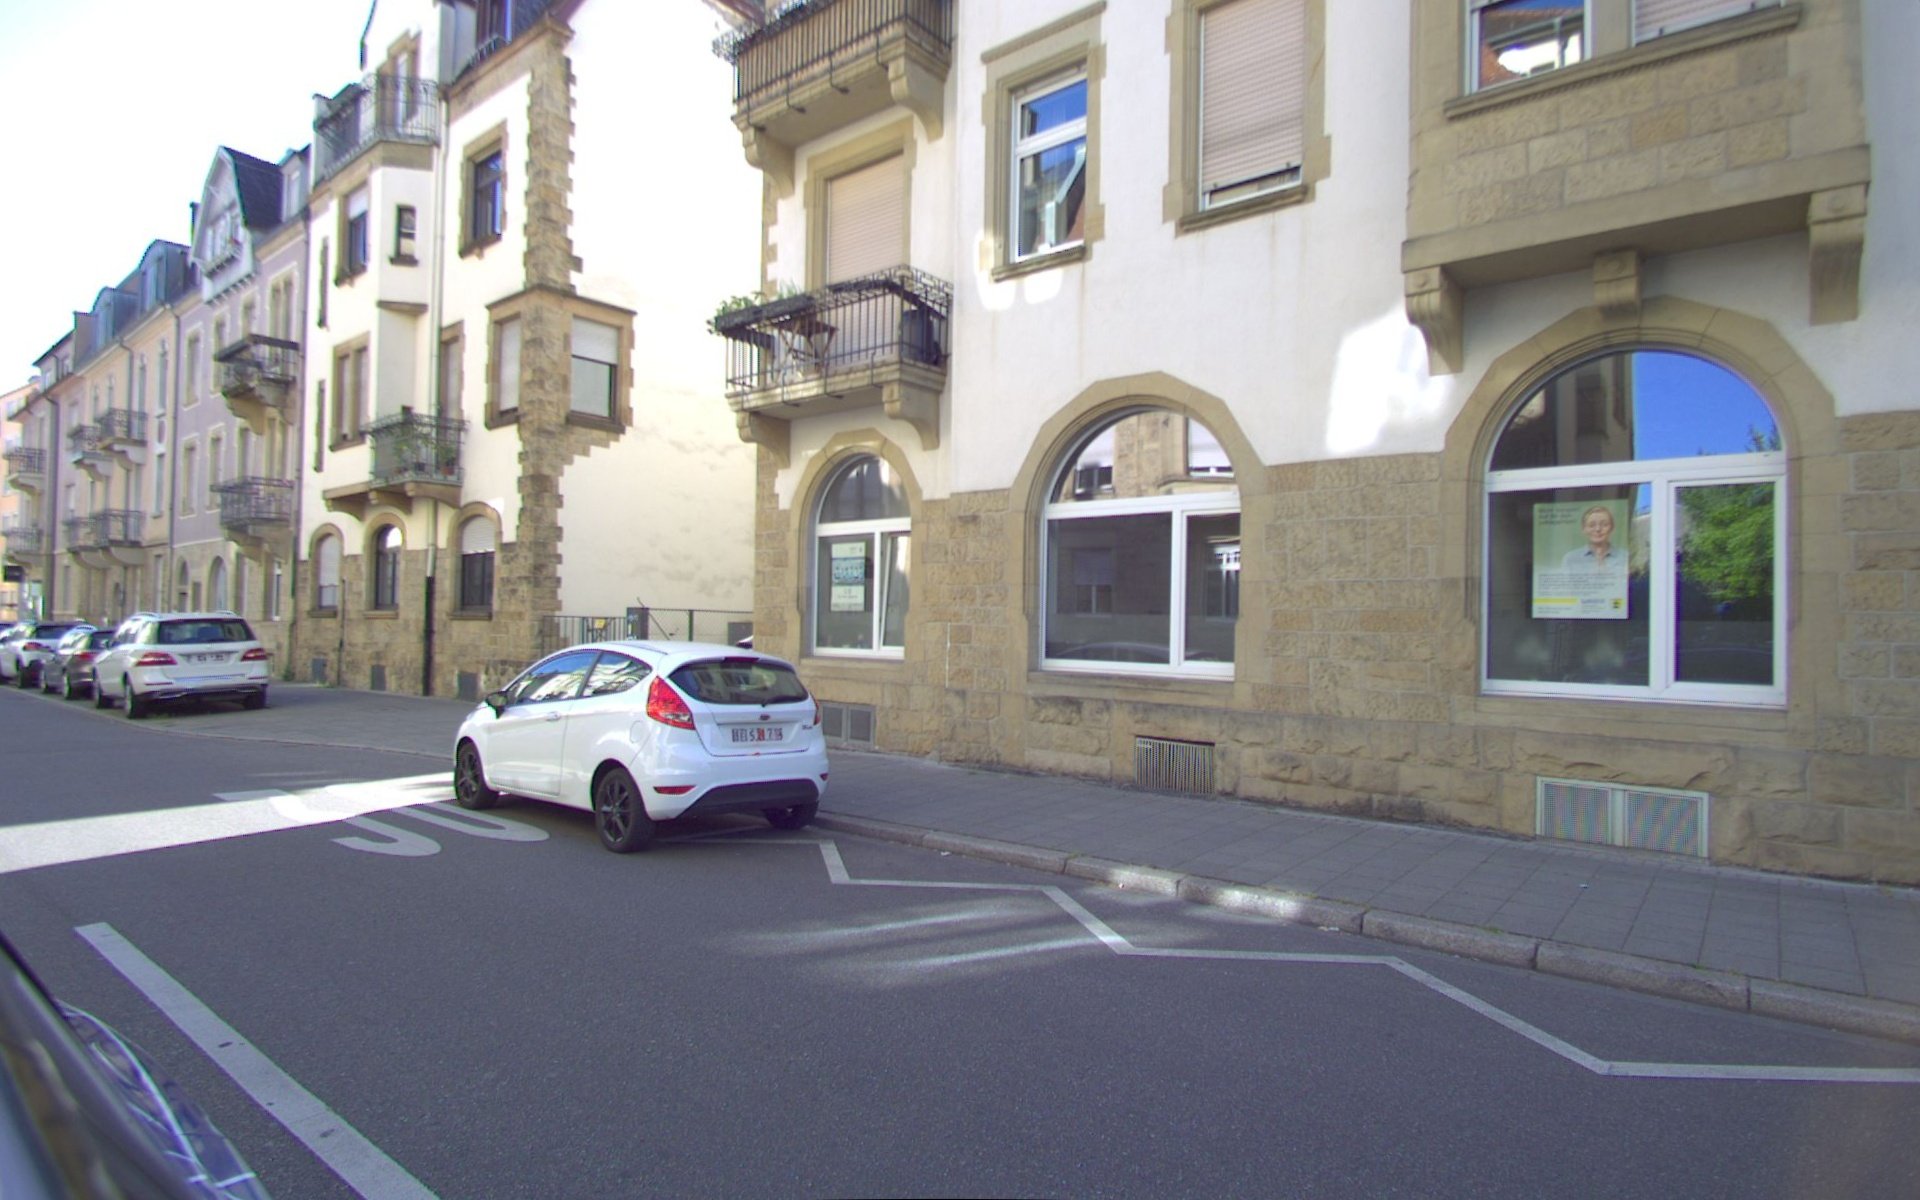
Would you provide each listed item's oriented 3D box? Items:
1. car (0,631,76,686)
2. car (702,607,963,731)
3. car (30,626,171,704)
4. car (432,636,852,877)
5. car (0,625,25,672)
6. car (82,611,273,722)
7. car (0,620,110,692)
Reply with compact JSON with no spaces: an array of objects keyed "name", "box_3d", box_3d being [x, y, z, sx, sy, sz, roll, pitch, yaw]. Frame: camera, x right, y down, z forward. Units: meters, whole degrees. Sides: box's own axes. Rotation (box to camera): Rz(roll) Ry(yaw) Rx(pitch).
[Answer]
[{"name":"car","box_3d":[-26.867,1.615,28.870,3.658,1.404,1.658,-1,1,36]},{"name":"car","box_3d":[-1.939,1.056,16.329,1.908,1.741,3.928,-2,-3,40]},{"name":"car","box_3d":[-18.509,1.323,21.733,4.275,1.498,1.558,-1,-1,39]},{"name":"car","box_3d":[-2.727,1.052,8.258,3.734,1.475,1.616,-1,-2,43]},{"name":"car","box_3d":[-33.061,1.617,34.132,3.719,1.550,1.698,-1,-2,38]},{"name":"car","box_3d":[-14.119,1.106,18.165,4.724,1.735,1.872,-1,-2,42]},{"name":"car","box_3d":[-22.861,1.351,25.281,4.015,1.595,1.698,-1,1,38]}]
